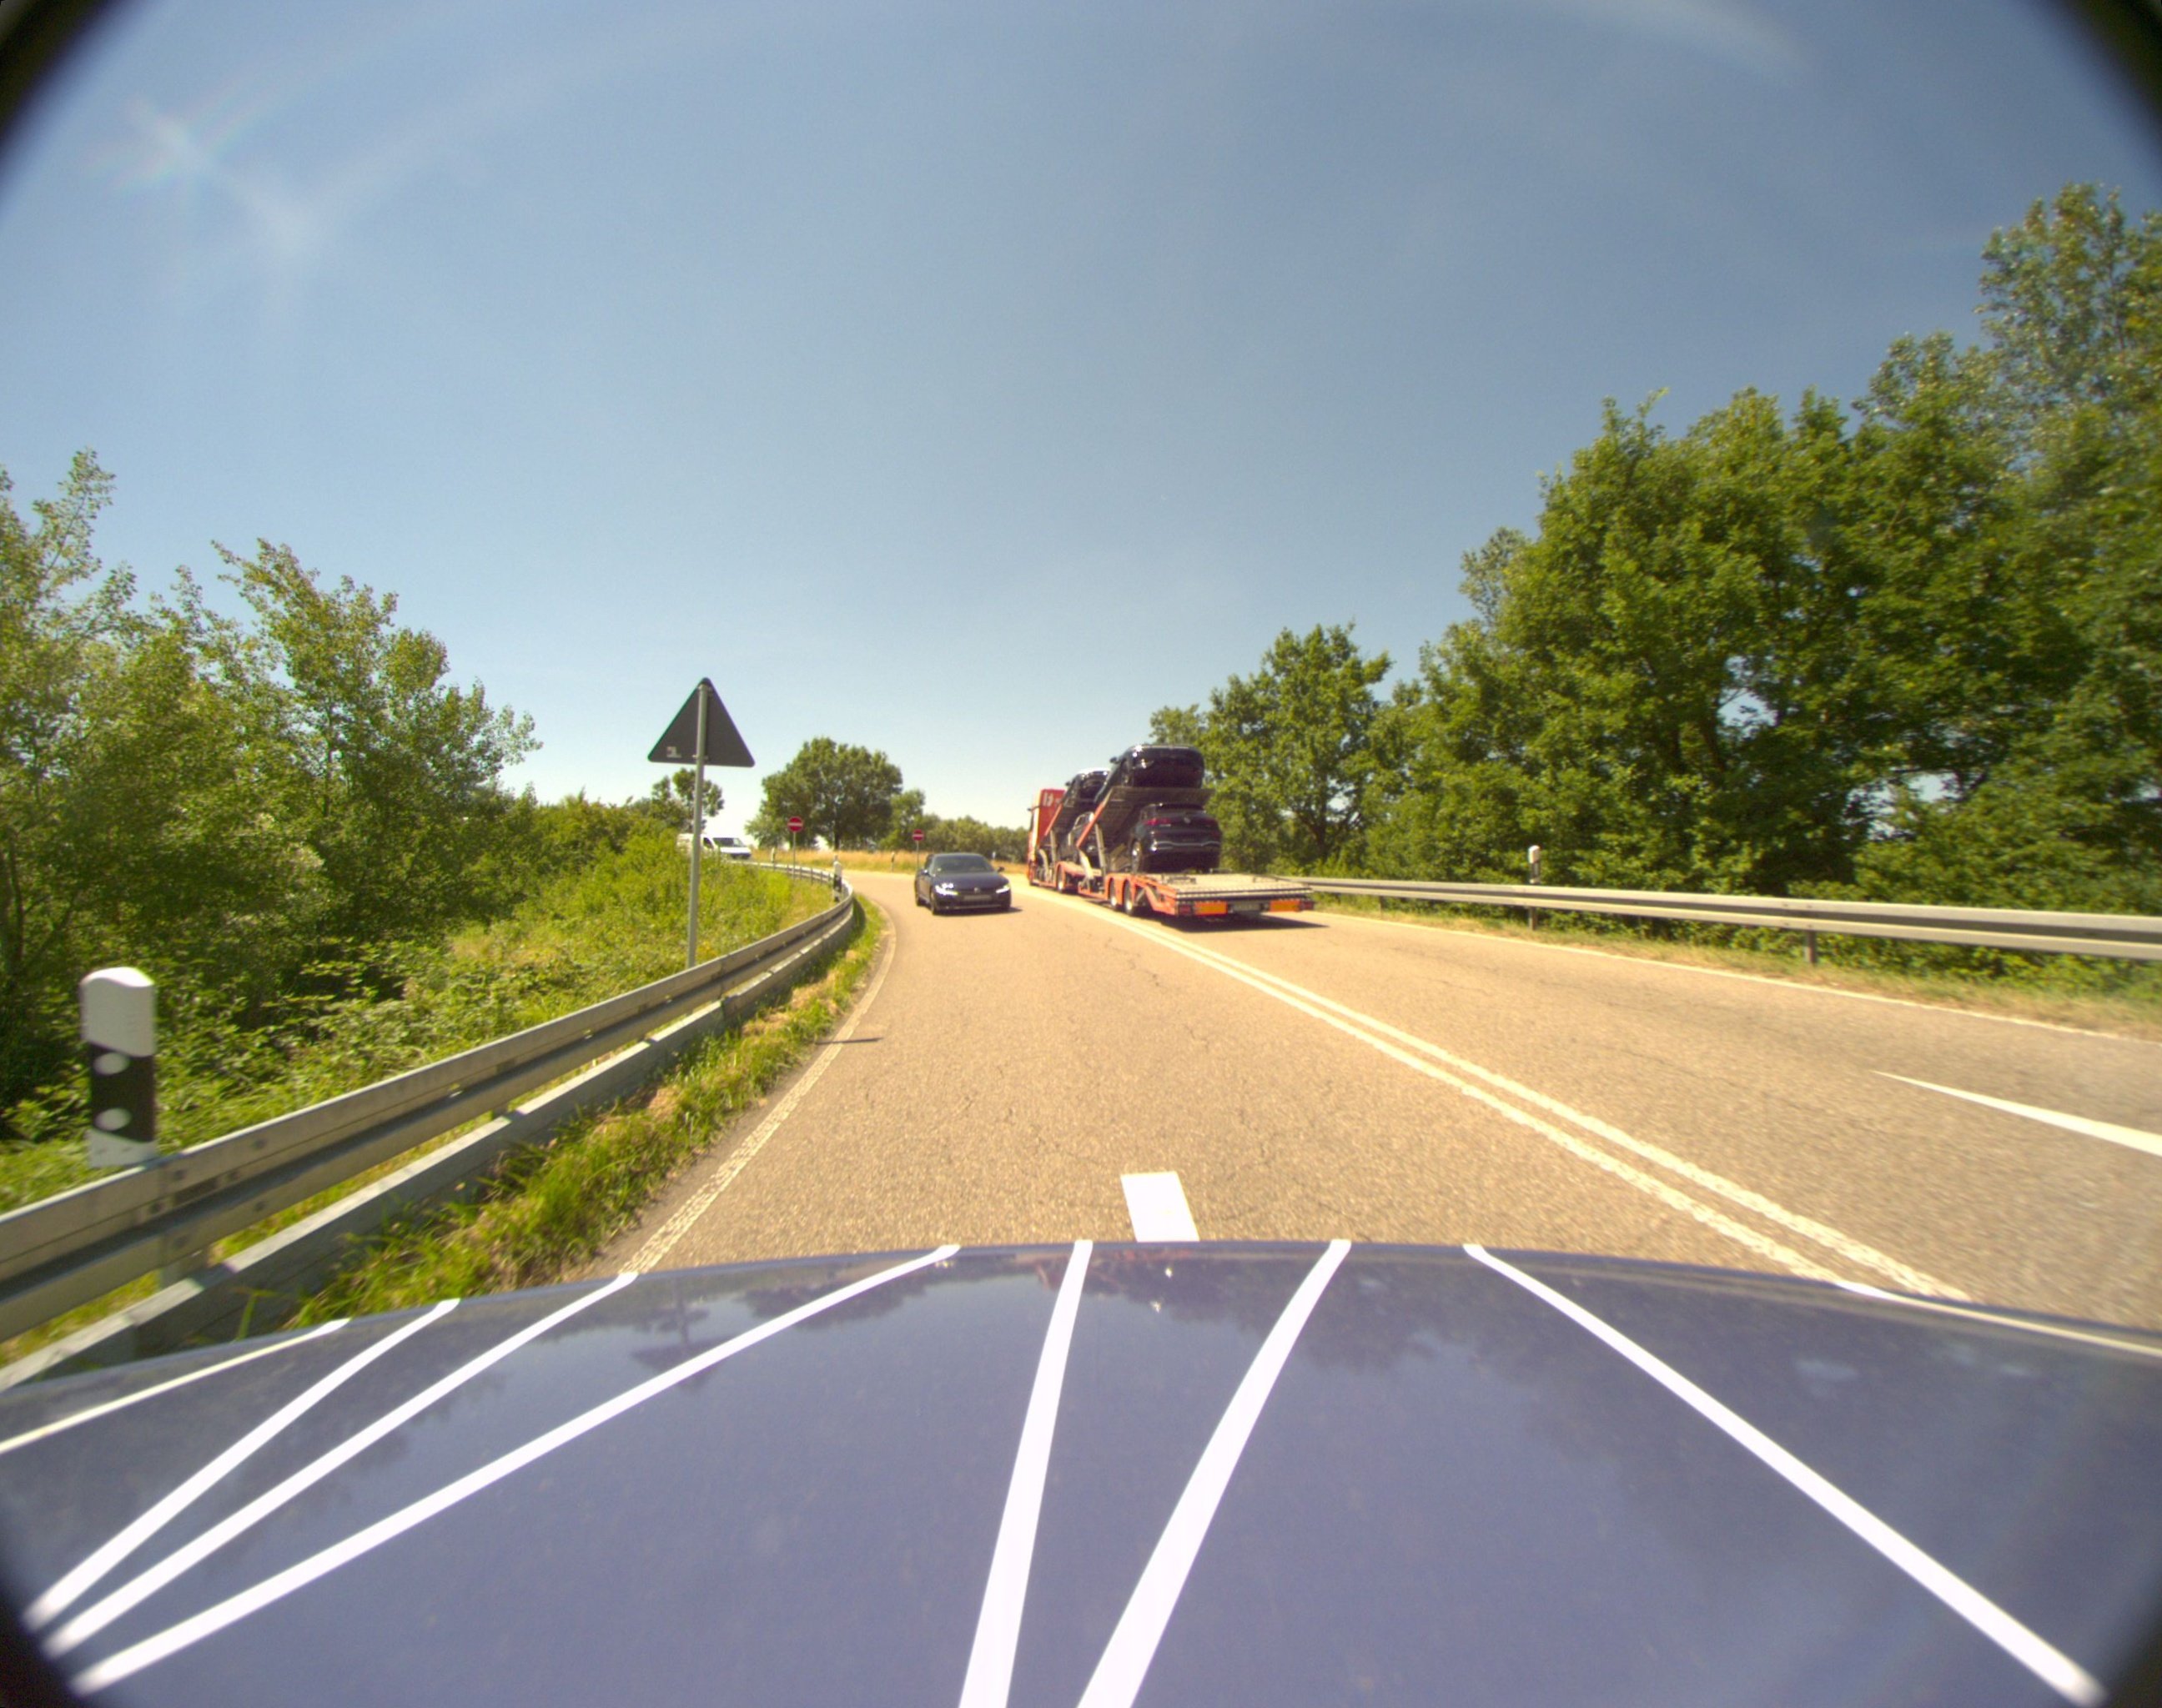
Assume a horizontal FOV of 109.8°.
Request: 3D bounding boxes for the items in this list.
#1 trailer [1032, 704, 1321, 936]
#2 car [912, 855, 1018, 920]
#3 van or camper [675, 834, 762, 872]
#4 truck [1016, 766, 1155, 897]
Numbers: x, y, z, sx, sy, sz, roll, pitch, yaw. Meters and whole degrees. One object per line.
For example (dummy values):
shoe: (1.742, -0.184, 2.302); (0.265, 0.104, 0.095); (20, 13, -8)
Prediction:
trailer: (1.269, -0.649, 19.805); (2.803, 3.876, 13.969); (-2, 1, -13)
car: (-3.111, 0.773, 19.505); (1.846, 1.422, 4.526); (-1, 0, -19)
van or camper: (-20.399, -0.094, 42.675); (5.432, 2.020, 2.014); (1, 3, 36)
truck: (-0.205, -0.721, 26.958); (2.800, 3.876, 8.768); (-2, 1, -14)
